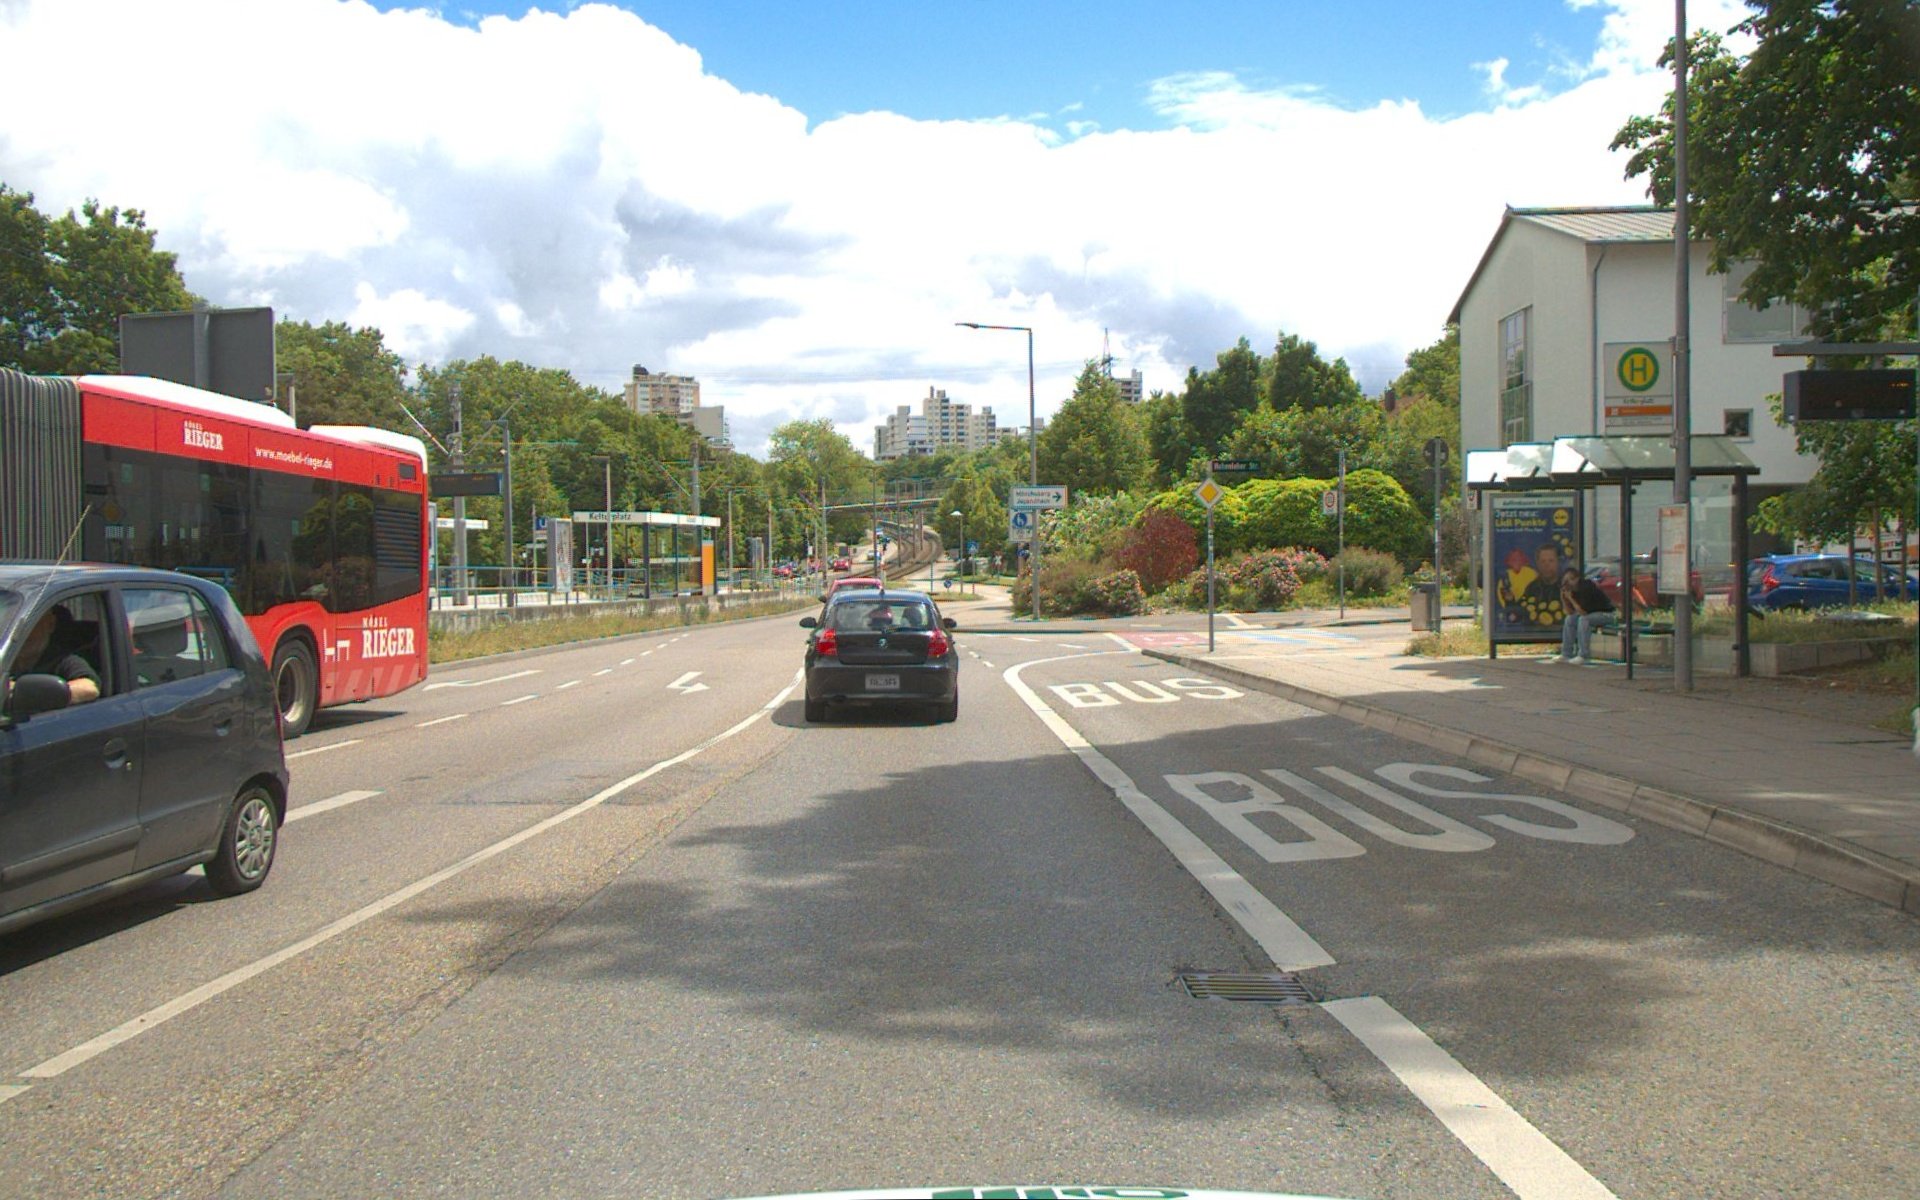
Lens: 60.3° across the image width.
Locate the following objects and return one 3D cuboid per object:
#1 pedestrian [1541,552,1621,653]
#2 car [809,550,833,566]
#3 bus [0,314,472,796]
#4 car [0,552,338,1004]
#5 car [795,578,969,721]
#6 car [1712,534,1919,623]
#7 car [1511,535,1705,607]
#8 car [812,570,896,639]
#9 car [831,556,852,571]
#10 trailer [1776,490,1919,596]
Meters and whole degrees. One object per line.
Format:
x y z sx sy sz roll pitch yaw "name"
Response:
8.108 0.024 21.611 0.810 1.280 0.686 -1 1 6 "pedestrian"
-15.071 -4.574 178.963 1.872 1.588 4.004 -1 2 5 "car"
-7.305 -0.368 14.837 2.669 3.123 8.968 -1 1 4 "bus"
-4.049 0.594 6.714 1.498 1.578 3.734 1 1 2 "car"
-0.866 0.495 19.333 1.778 1.445 3.999 -2 1 -2 "car"
16.953 -0.442 32.252 3.715 1.481 1.897 -3 3 0 "car"
16.122 -0.751 41.276 4.072 1.588 2.000 -1 4 -2 "car"
-2.429 0.071 38.556 1.730 1.457 3.478 -2 1 -1 "car"
-12.723 -3.980 178.093 1.683 1.529 2.970 -1 2 8 "car"
23.181 -1.455 41.351 4.443 2.530 2.222 -1 3 1 "trailer"
